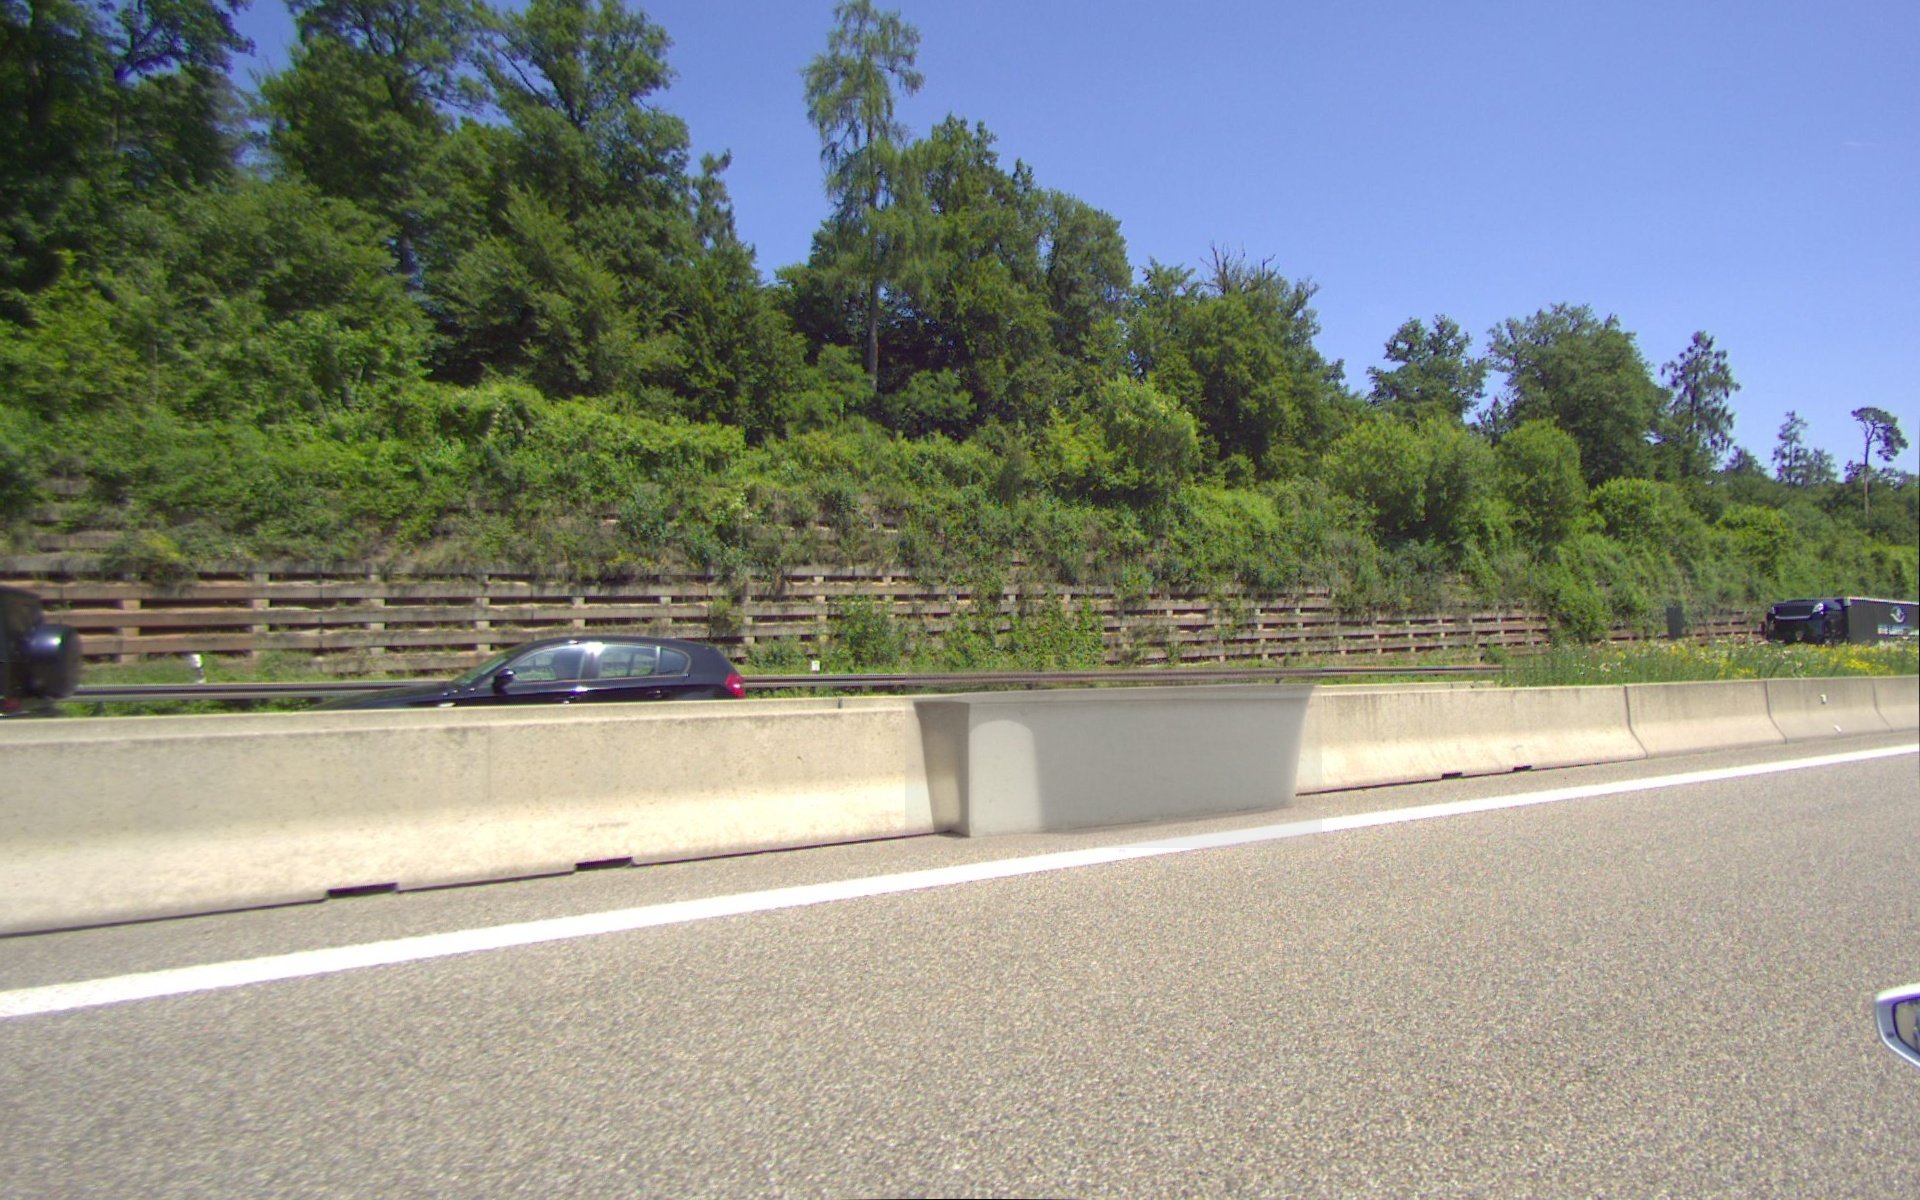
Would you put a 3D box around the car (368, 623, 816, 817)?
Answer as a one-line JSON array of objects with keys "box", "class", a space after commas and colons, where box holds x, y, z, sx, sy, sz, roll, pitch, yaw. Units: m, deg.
[{"box": [-3.670, 1.080, 10.245, 4.034, 1.626, 1.753, 1, -3, -31], "class": "car"}]

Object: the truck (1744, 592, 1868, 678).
[{"box": [42.515, 1.805, 50.459, 5.800, 4.112, 2.921, 2, -3, -30], "class": "truck"}]

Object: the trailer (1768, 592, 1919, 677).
[{"box": [48.388, 1.939, 53.963, 13.830, 4.154, 2.965, 2, -4, -31], "class": "trailer"}]

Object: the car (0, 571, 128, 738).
[{"box": [-11.295, 0.534, 9.785, 4.602, 1.626, 1.930, 1, -3, -31], "class": "car"}]
